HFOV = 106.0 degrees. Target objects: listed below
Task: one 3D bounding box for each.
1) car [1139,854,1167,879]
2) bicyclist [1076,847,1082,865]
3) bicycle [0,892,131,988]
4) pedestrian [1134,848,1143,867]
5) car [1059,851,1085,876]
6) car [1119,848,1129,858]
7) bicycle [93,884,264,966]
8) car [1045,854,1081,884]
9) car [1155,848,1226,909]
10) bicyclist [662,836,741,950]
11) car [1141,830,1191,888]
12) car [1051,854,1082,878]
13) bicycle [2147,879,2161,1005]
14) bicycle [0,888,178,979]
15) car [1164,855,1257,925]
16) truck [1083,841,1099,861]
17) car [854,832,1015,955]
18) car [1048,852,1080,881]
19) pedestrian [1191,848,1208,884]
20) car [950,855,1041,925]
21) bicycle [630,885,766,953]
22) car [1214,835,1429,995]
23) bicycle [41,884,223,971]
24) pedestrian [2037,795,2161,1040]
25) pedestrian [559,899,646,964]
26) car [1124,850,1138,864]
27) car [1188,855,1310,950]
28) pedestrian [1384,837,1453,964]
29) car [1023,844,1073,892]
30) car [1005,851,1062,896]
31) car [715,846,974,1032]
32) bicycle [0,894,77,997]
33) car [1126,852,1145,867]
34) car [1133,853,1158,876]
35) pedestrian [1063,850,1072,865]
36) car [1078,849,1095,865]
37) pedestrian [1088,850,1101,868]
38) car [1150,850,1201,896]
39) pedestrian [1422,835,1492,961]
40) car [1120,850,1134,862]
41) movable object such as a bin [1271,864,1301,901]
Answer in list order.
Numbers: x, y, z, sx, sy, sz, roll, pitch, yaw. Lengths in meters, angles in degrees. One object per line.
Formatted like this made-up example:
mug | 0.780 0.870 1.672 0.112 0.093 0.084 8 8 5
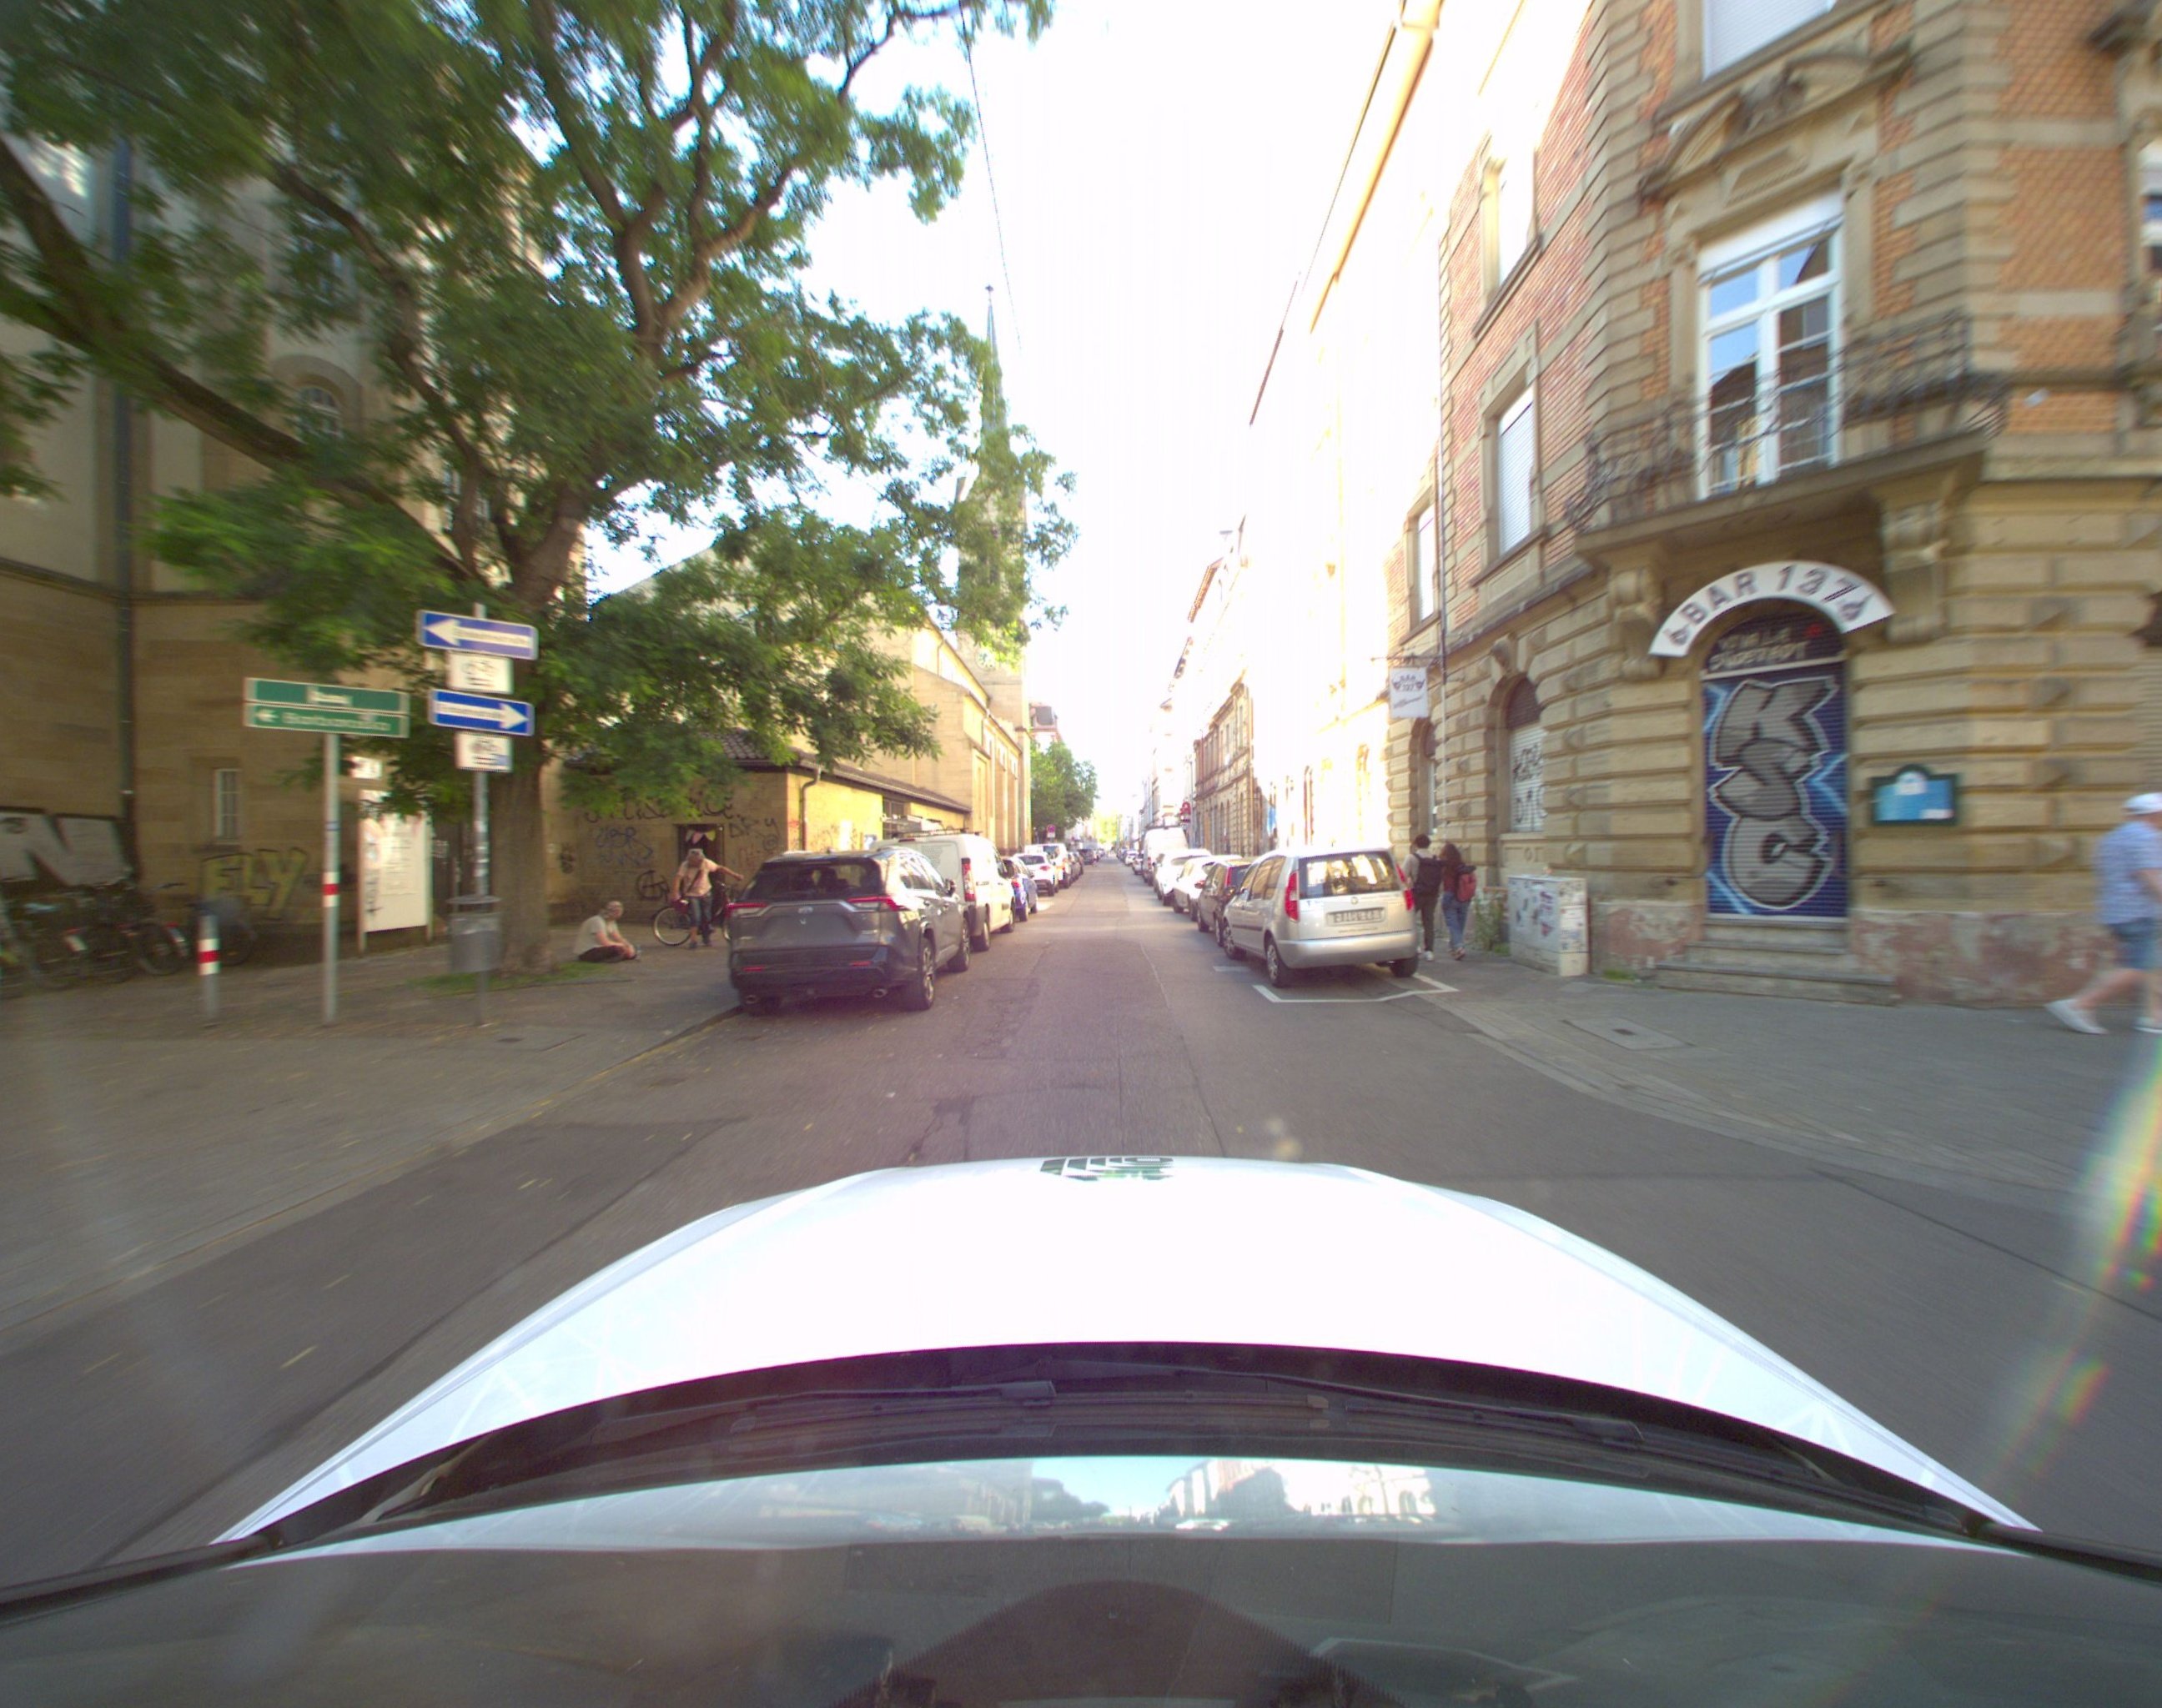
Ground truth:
car | 4.505 0.760 51.279 1.563 1.495 3.656 1 0 3
bicyclist | -0.206 0.191 80.464 0.603 1.688 0.885 0 0 2
bicycle | -12.204 0.989 9.460 1.769 1.054 0.478 0 0 1
pedestrian | 5.622 0.360 79.486 0.681 1.843 0.692 1 0 -10
car | -0.600 0.637 57.430 1.594 1.614 3.809 -2 0 1
car | 8.444 -0.176 161.102 1.986 2.013 4.002 0 0 2
bicycle | -12.141 0.942 10.977 1.769 1.054 0.478 0 0 1
car | -0.900 0.761 42.602 1.609 1.451 3.952 -2 0 2
car | 3.325 0.722 25.496 1.800 1.690 4.217 2 0 3
bicyclist | -6.000 0.599 12.915 0.800 1.723 0.694 3 0 10
car | 4.091 0.199 40.151 2.060 2.611 5.891 0 0 2
car | -0.911 0.757 52.521 1.563 1.398 3.813 -4 0 5
bicycle | 9.990 0.736 6.682 1.769 1.054 0.534 -1 0 1
bicycle | -12.131 0.956 9.903 1.769 1.054 0.478 0 0 1
car | 3.139 0.817 20.431 1.568 1.525 3.905 2 0 -2
truck | 1.688 -0.489 135.005 2.522 3.281 6.999 0 0 2
car | -2.403 0.581 14.562 1.838 1.862 4.469 0 1 3
car | -0.963 0.703 47.208 1.667 1.558 4.001 -1 0 1
pedestrian | 5.911 0.578 40.636 0.639 1.772 0.677 2 0 -8
car | -2.004 0.809 20.128 1.681 1.476 3.862 -2 0 2
bicycle | -6.062 1.008 12.930 1.750 0.923 0.829 3 0 10
car | 2.943 0.657 10.848 1.698 1.714 3.938 -1 0 0
bicycle | -12.127 0.932 10.426 1.769 1.054 0.478 0 0 1
pedestrian | 7.748 0.443 6.035 0.656 1.732 0.579 -1 1 21
pedestrian | -6.492 1.032 11.085 0.919 0.778 0.697 0 0 -22
car | 6.445 0.335 105.106 1.762 1.741 4.003 0 0 2
car | 3.018 0.801 15.308 1.530 1.513 3.681 -1 0 0
pedestrian | 4.445 0.585 10.754 0.589 1.604 0.727 -1 1 0
car | -1.423 0.559 36.406 1.857 1.957 4.612 -2 0 1
car | -1.721 0.669 30.623 1.735 1.586 3.871 0 0 2
car | -2.393 0.748 9.412 1.735 1.646 4.288 0 0 0
bicycle | -12.220 0.989 8.926 1.769 1.054 0.534 0 1 1
car | 5.615 0.552 84.605 1.890 1.488 3.872 0 0 2
car | 4.419 0.695 56.132 1.597 1.504 4.004 1 0 3
pedestrian | -1.448 0.422 90.067 0.925 1.637 0.807 0 0 3
car | 0.637 0.355 96.800 1.868 1.796 4.002 0 0 2
pedestrian | 1.350 0.498 82.338 1.017 1.843 0.776 0 0 -42
car | 3.610 0.684 31.572 1.681 1.642 3.926 0 0 2
pedestrian | 5.033 0.569 10.925 0.572 1.621 0.734 -1 1 0
car | 6.692 0.332 118.660 1.986 1.632 4.002 2 0 2
movable object such as a bin | 6.241 0.862 24.803 0.551 1.052 0.597 -3 0 -31
